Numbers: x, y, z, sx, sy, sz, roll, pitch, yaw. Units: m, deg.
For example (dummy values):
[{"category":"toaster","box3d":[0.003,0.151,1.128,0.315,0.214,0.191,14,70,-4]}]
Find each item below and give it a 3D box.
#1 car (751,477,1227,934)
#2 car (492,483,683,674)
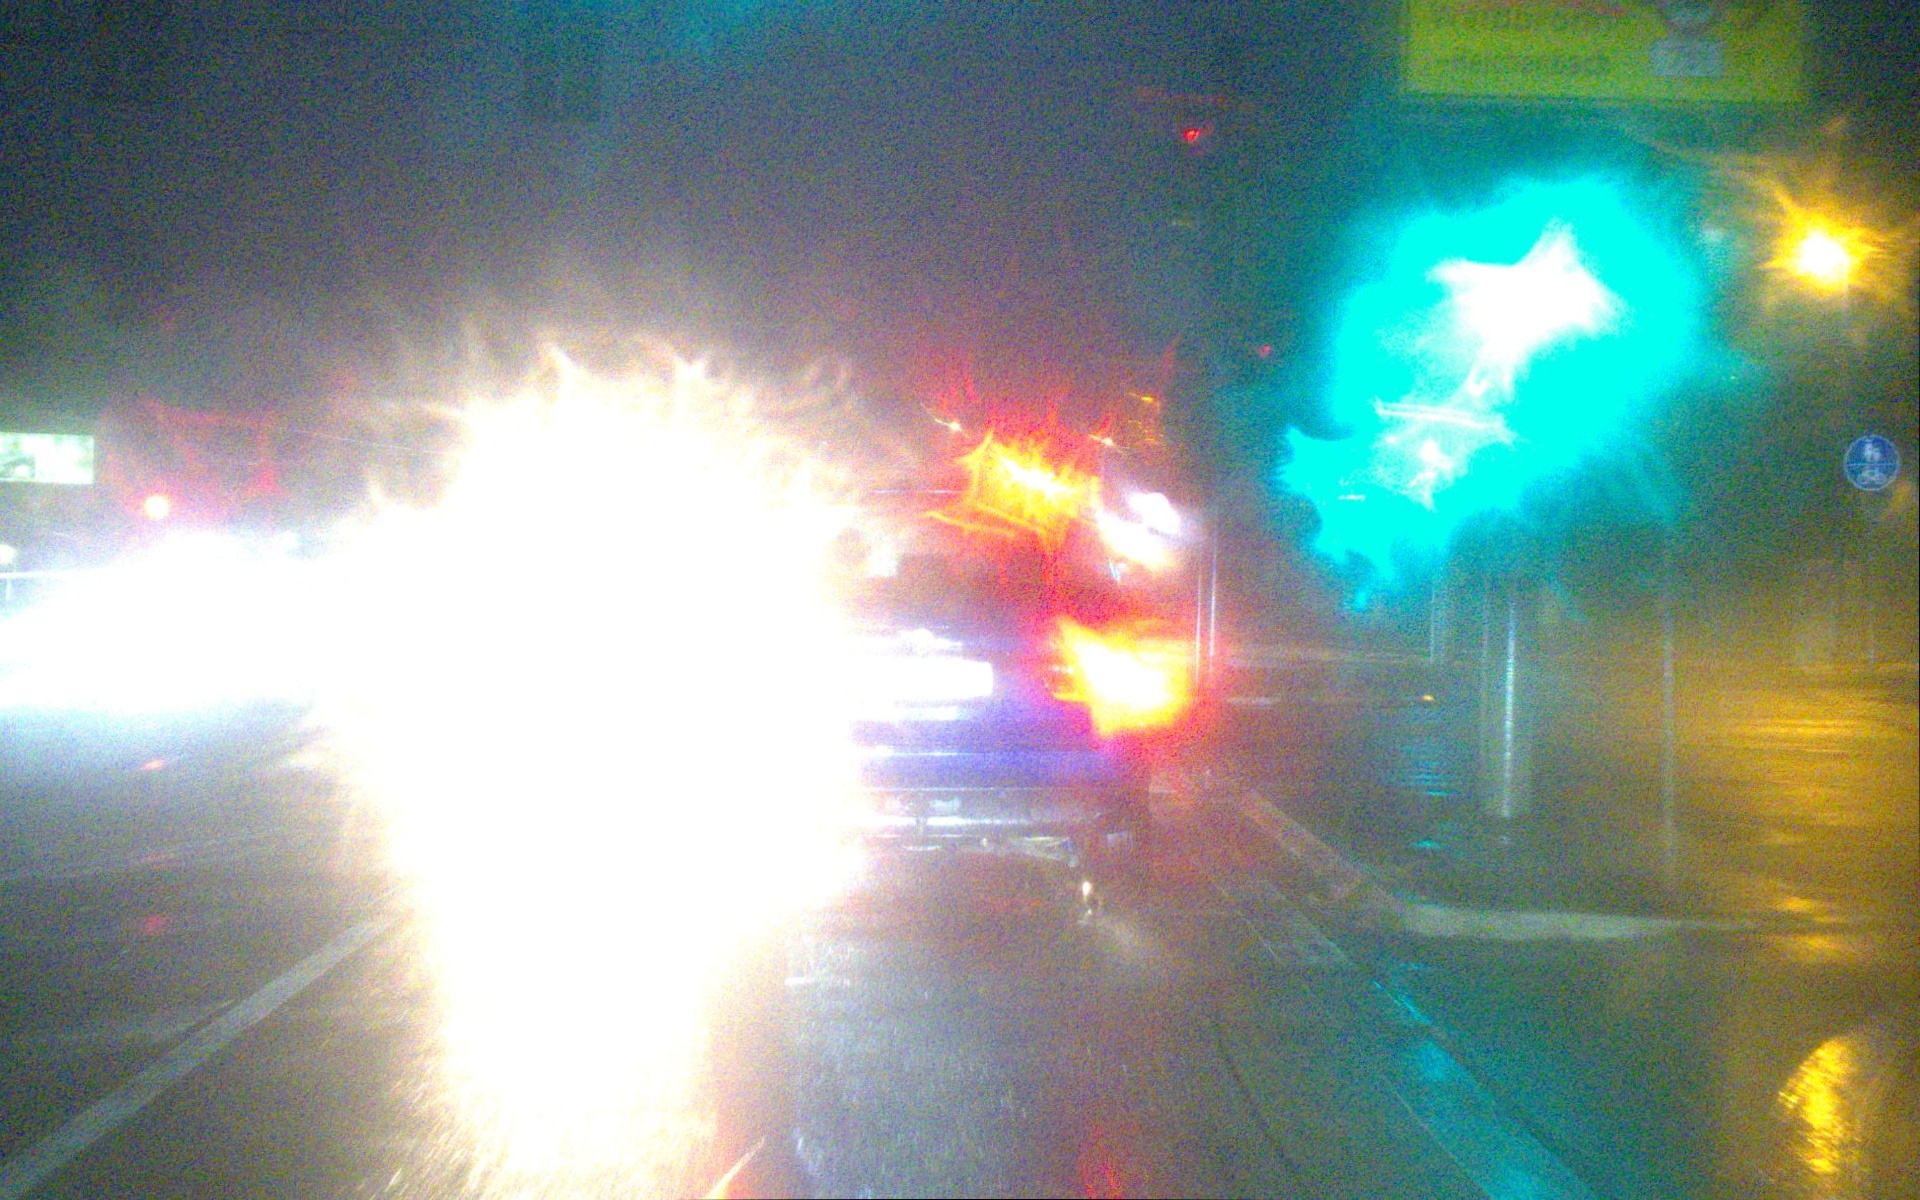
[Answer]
[{"category":"car","box3d":[0.037,0.363,14.868,1.775,1.706,4.000,0,1,-2]},{"category":"car","box3d":[-4.149,-0.191,38.679,1.993,2.007,4.000,-1,-1,-5]}]
